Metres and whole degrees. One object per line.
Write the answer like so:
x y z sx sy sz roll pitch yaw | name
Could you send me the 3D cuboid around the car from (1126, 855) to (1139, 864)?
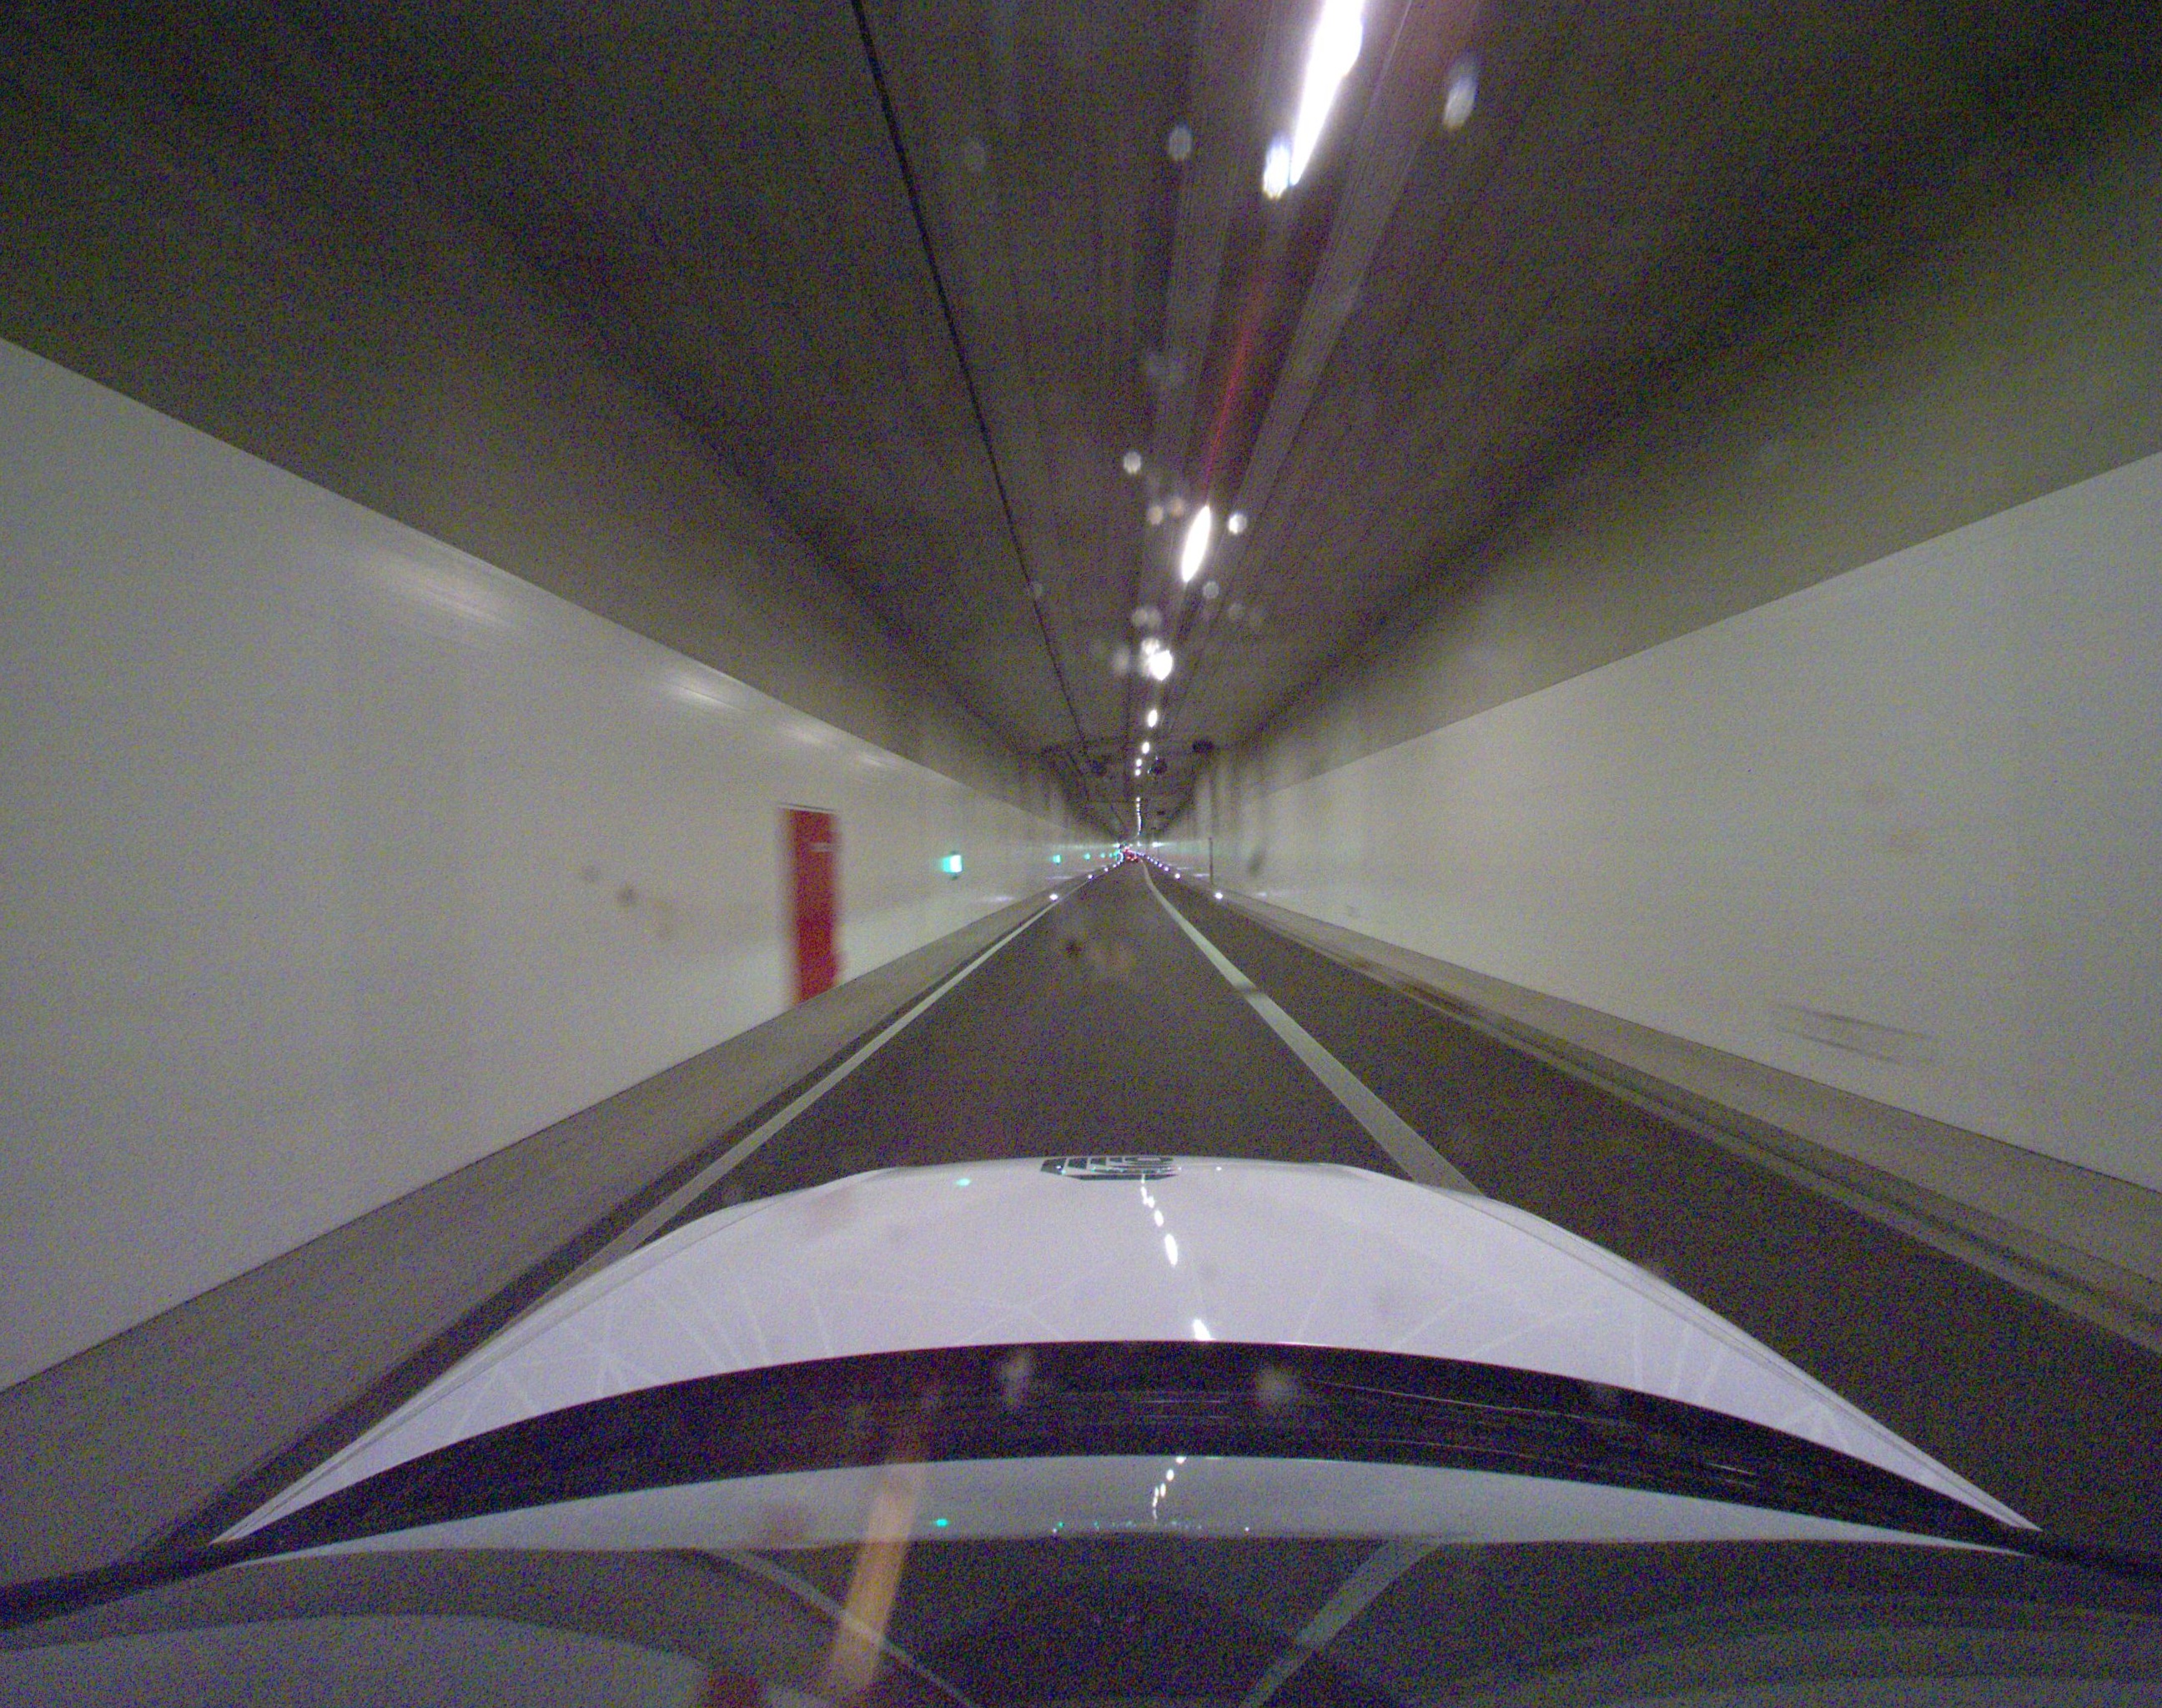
8.381 0.864 133.070 1.986 1.420 4.001 0 0 2 | car
